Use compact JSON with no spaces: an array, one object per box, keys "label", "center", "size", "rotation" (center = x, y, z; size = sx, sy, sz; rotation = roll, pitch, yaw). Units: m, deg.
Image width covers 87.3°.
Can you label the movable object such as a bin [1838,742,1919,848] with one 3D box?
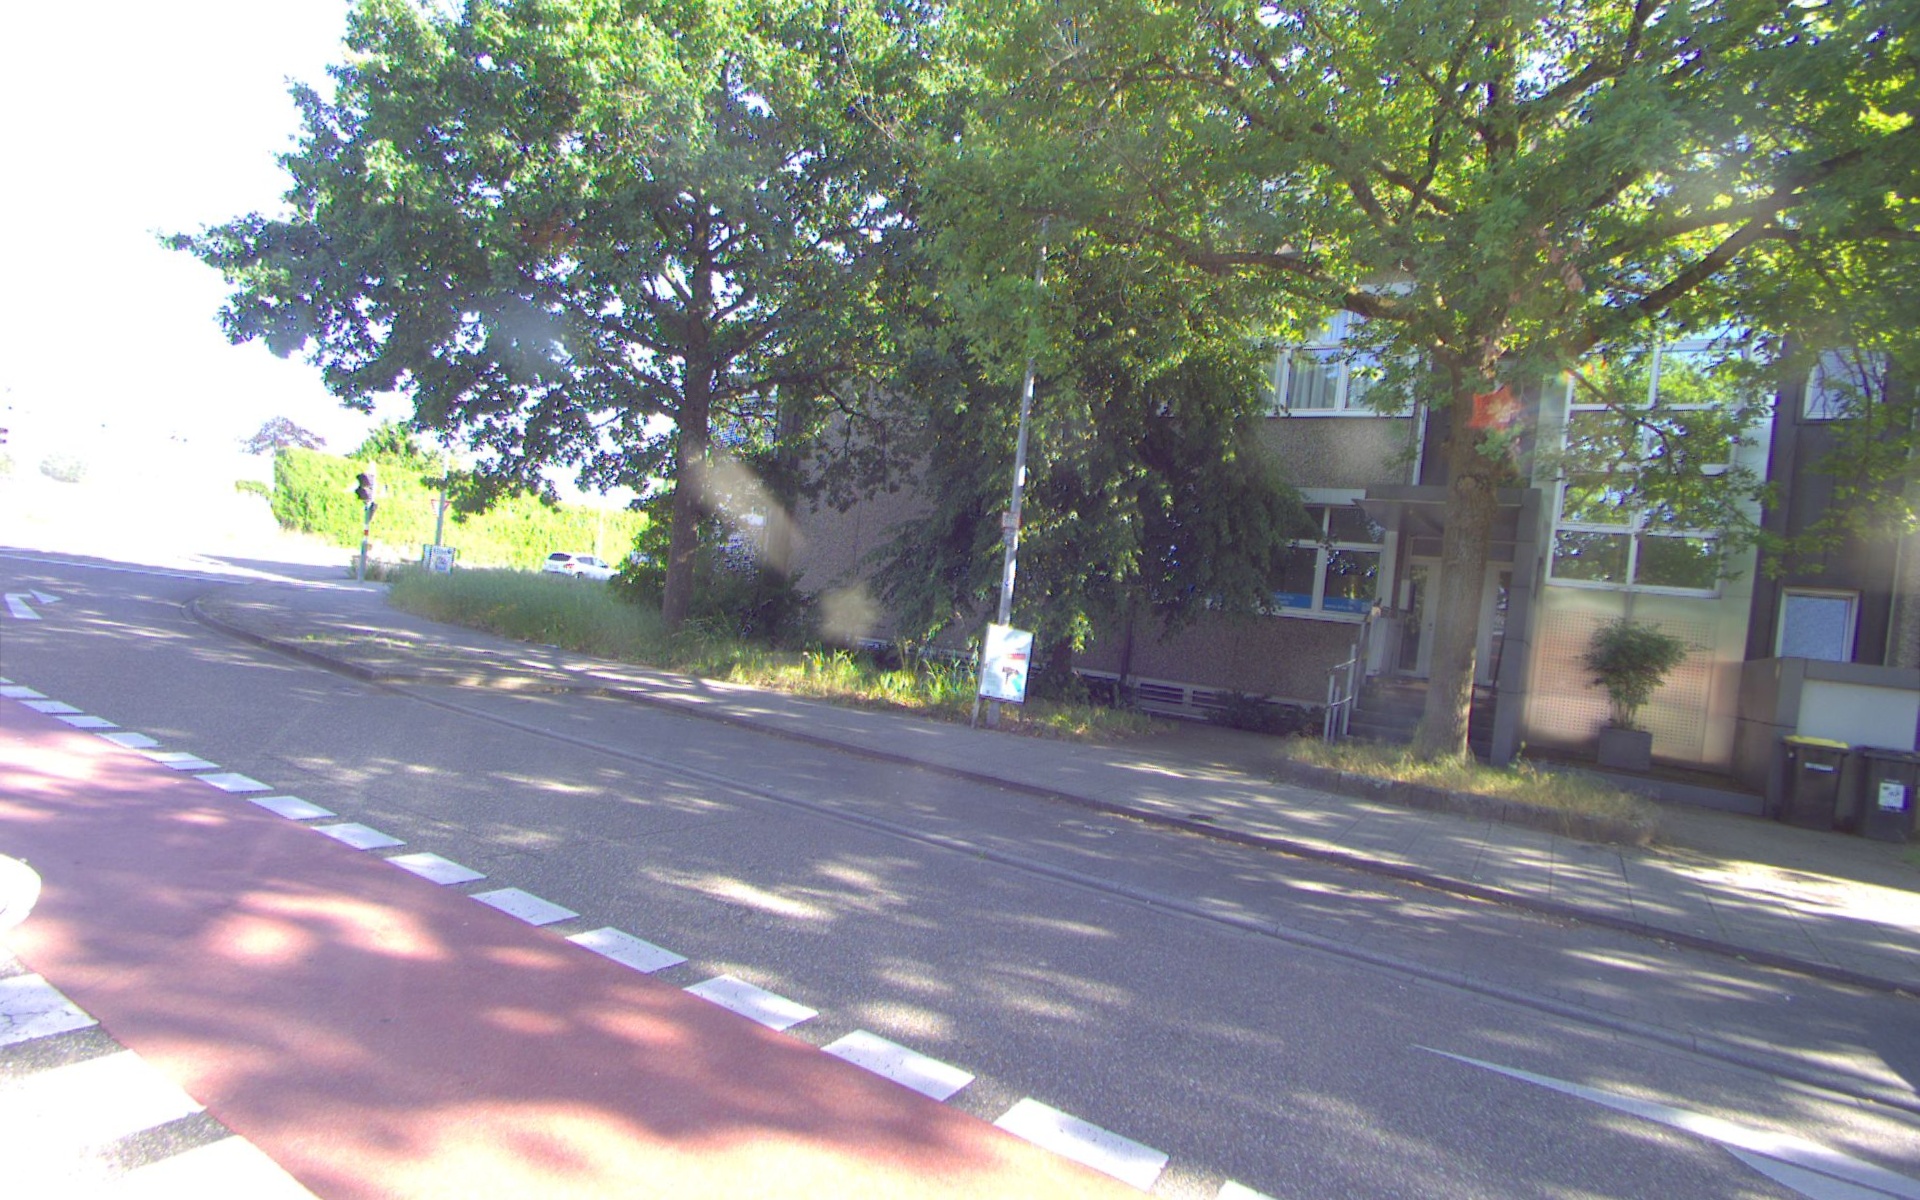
[{"label":"movable object such as a bin","center":[10.768,2.251,11.723],"size":[0.605,1.075,0.634],"rotation":[6,0,30]}]

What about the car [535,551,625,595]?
[{"label":"car","center":[-18.043,-1.247,47.980],"size":[1.691,1.627,4.067],"rotation":[8,1,18]}]

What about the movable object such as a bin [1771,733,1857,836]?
[{"label":"movable object such as a bin","center":[10.180,2.183,12.016],"size":[0.575,1.070,0.625],"rotation":[7,0,30]}]
